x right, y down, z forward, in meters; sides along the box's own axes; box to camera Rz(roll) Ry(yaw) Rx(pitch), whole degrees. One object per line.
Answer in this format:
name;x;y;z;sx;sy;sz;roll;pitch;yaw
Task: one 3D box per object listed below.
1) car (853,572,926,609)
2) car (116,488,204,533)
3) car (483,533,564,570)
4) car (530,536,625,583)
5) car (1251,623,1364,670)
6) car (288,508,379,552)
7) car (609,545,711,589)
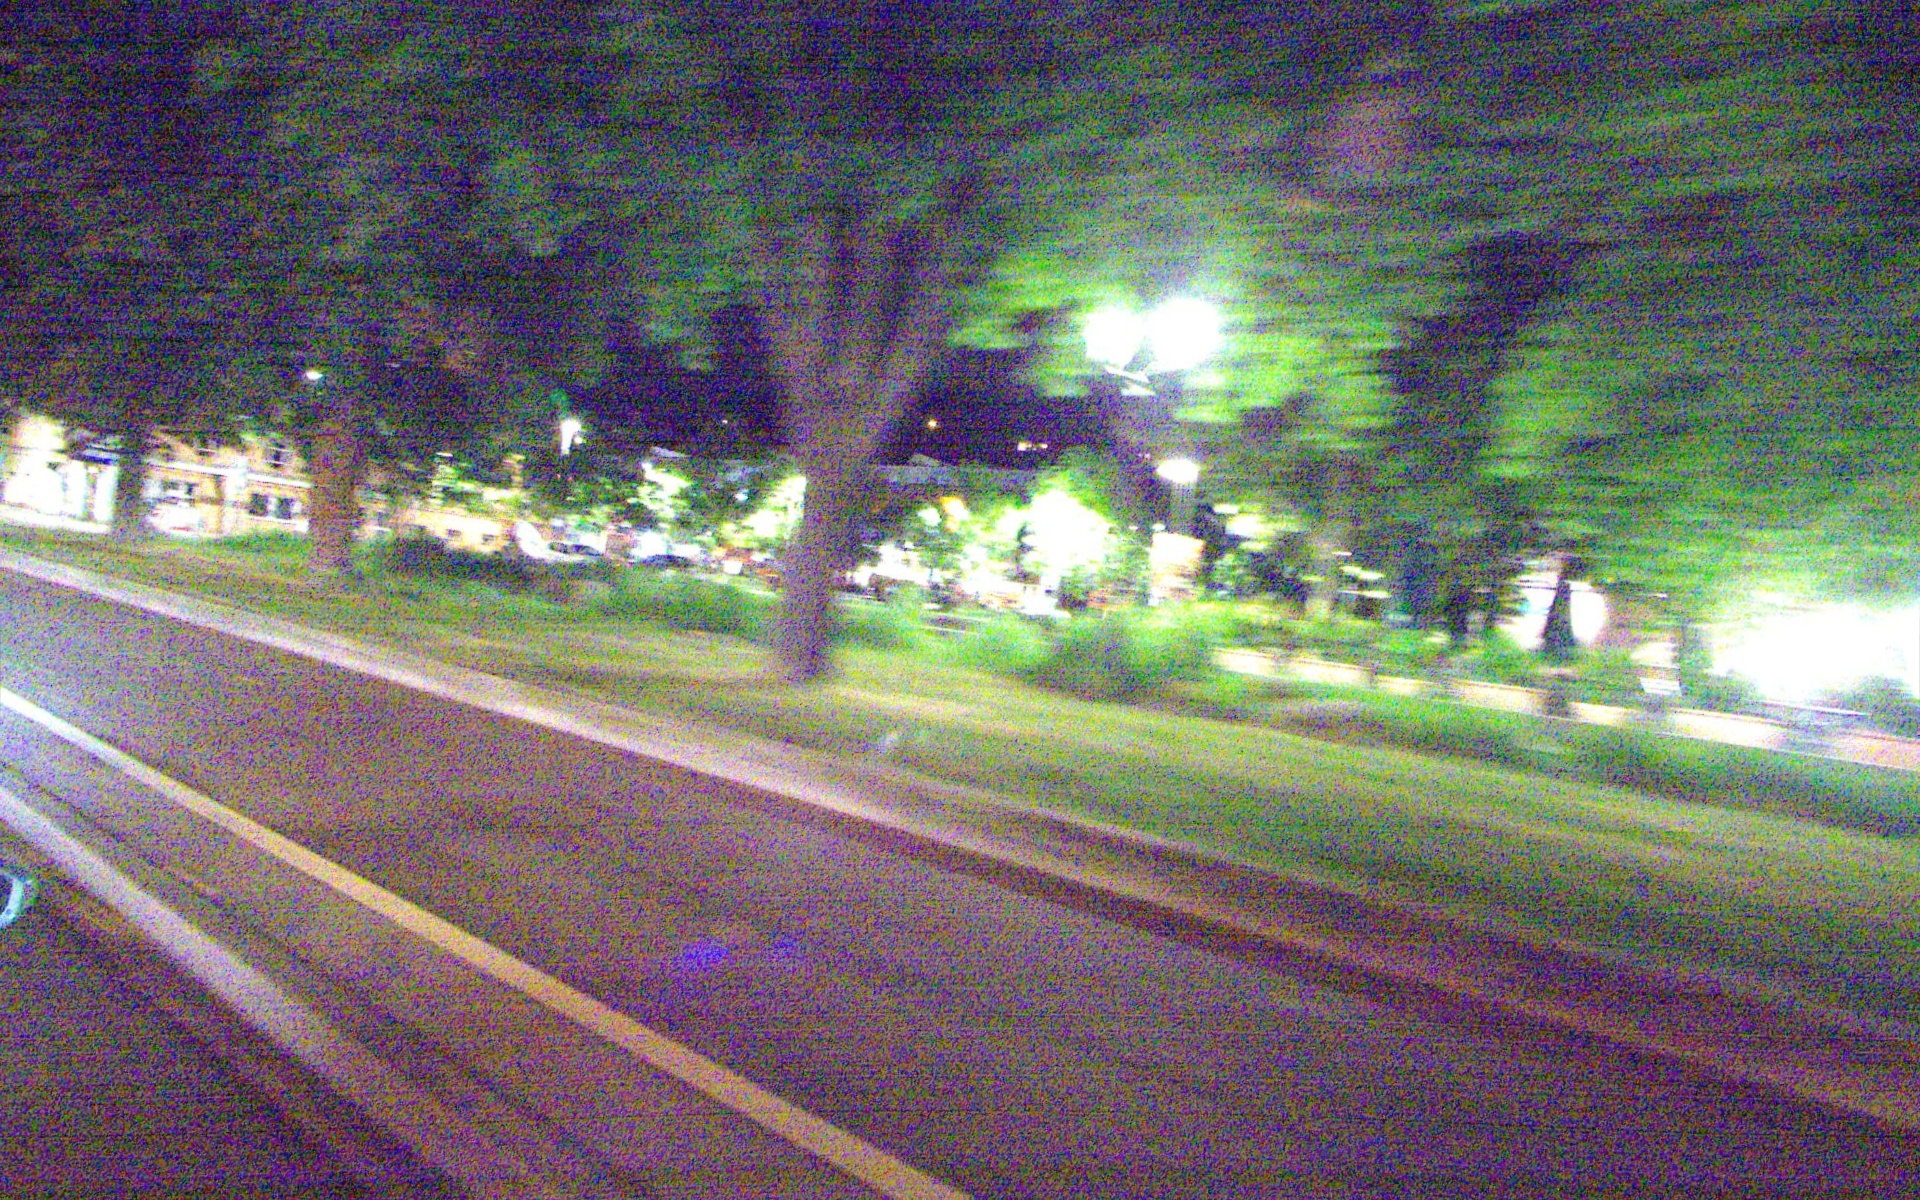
car;-4.436;-0.578;63.866;2.047;1.788;4.536;8;1;35
car;-32.959;-3.711;41.411;4.409;1.413;1.513;7;1;34
car;-23.473;-2.605;54.066;4.172;1.446;1.994;7;1;34
car;-16.553;-1.771;43.446;4.033;1.553;1.768;7;1;34
car;15.437;2.048;44.728;4.232;1.527;1.994;7;2;34
car;-28.788;-3.230;46.211;3.932;1.553;1.784;7;1;30
car;-14.227;-1.566;47.647;4.812;1.532;1.890;7;1;33
